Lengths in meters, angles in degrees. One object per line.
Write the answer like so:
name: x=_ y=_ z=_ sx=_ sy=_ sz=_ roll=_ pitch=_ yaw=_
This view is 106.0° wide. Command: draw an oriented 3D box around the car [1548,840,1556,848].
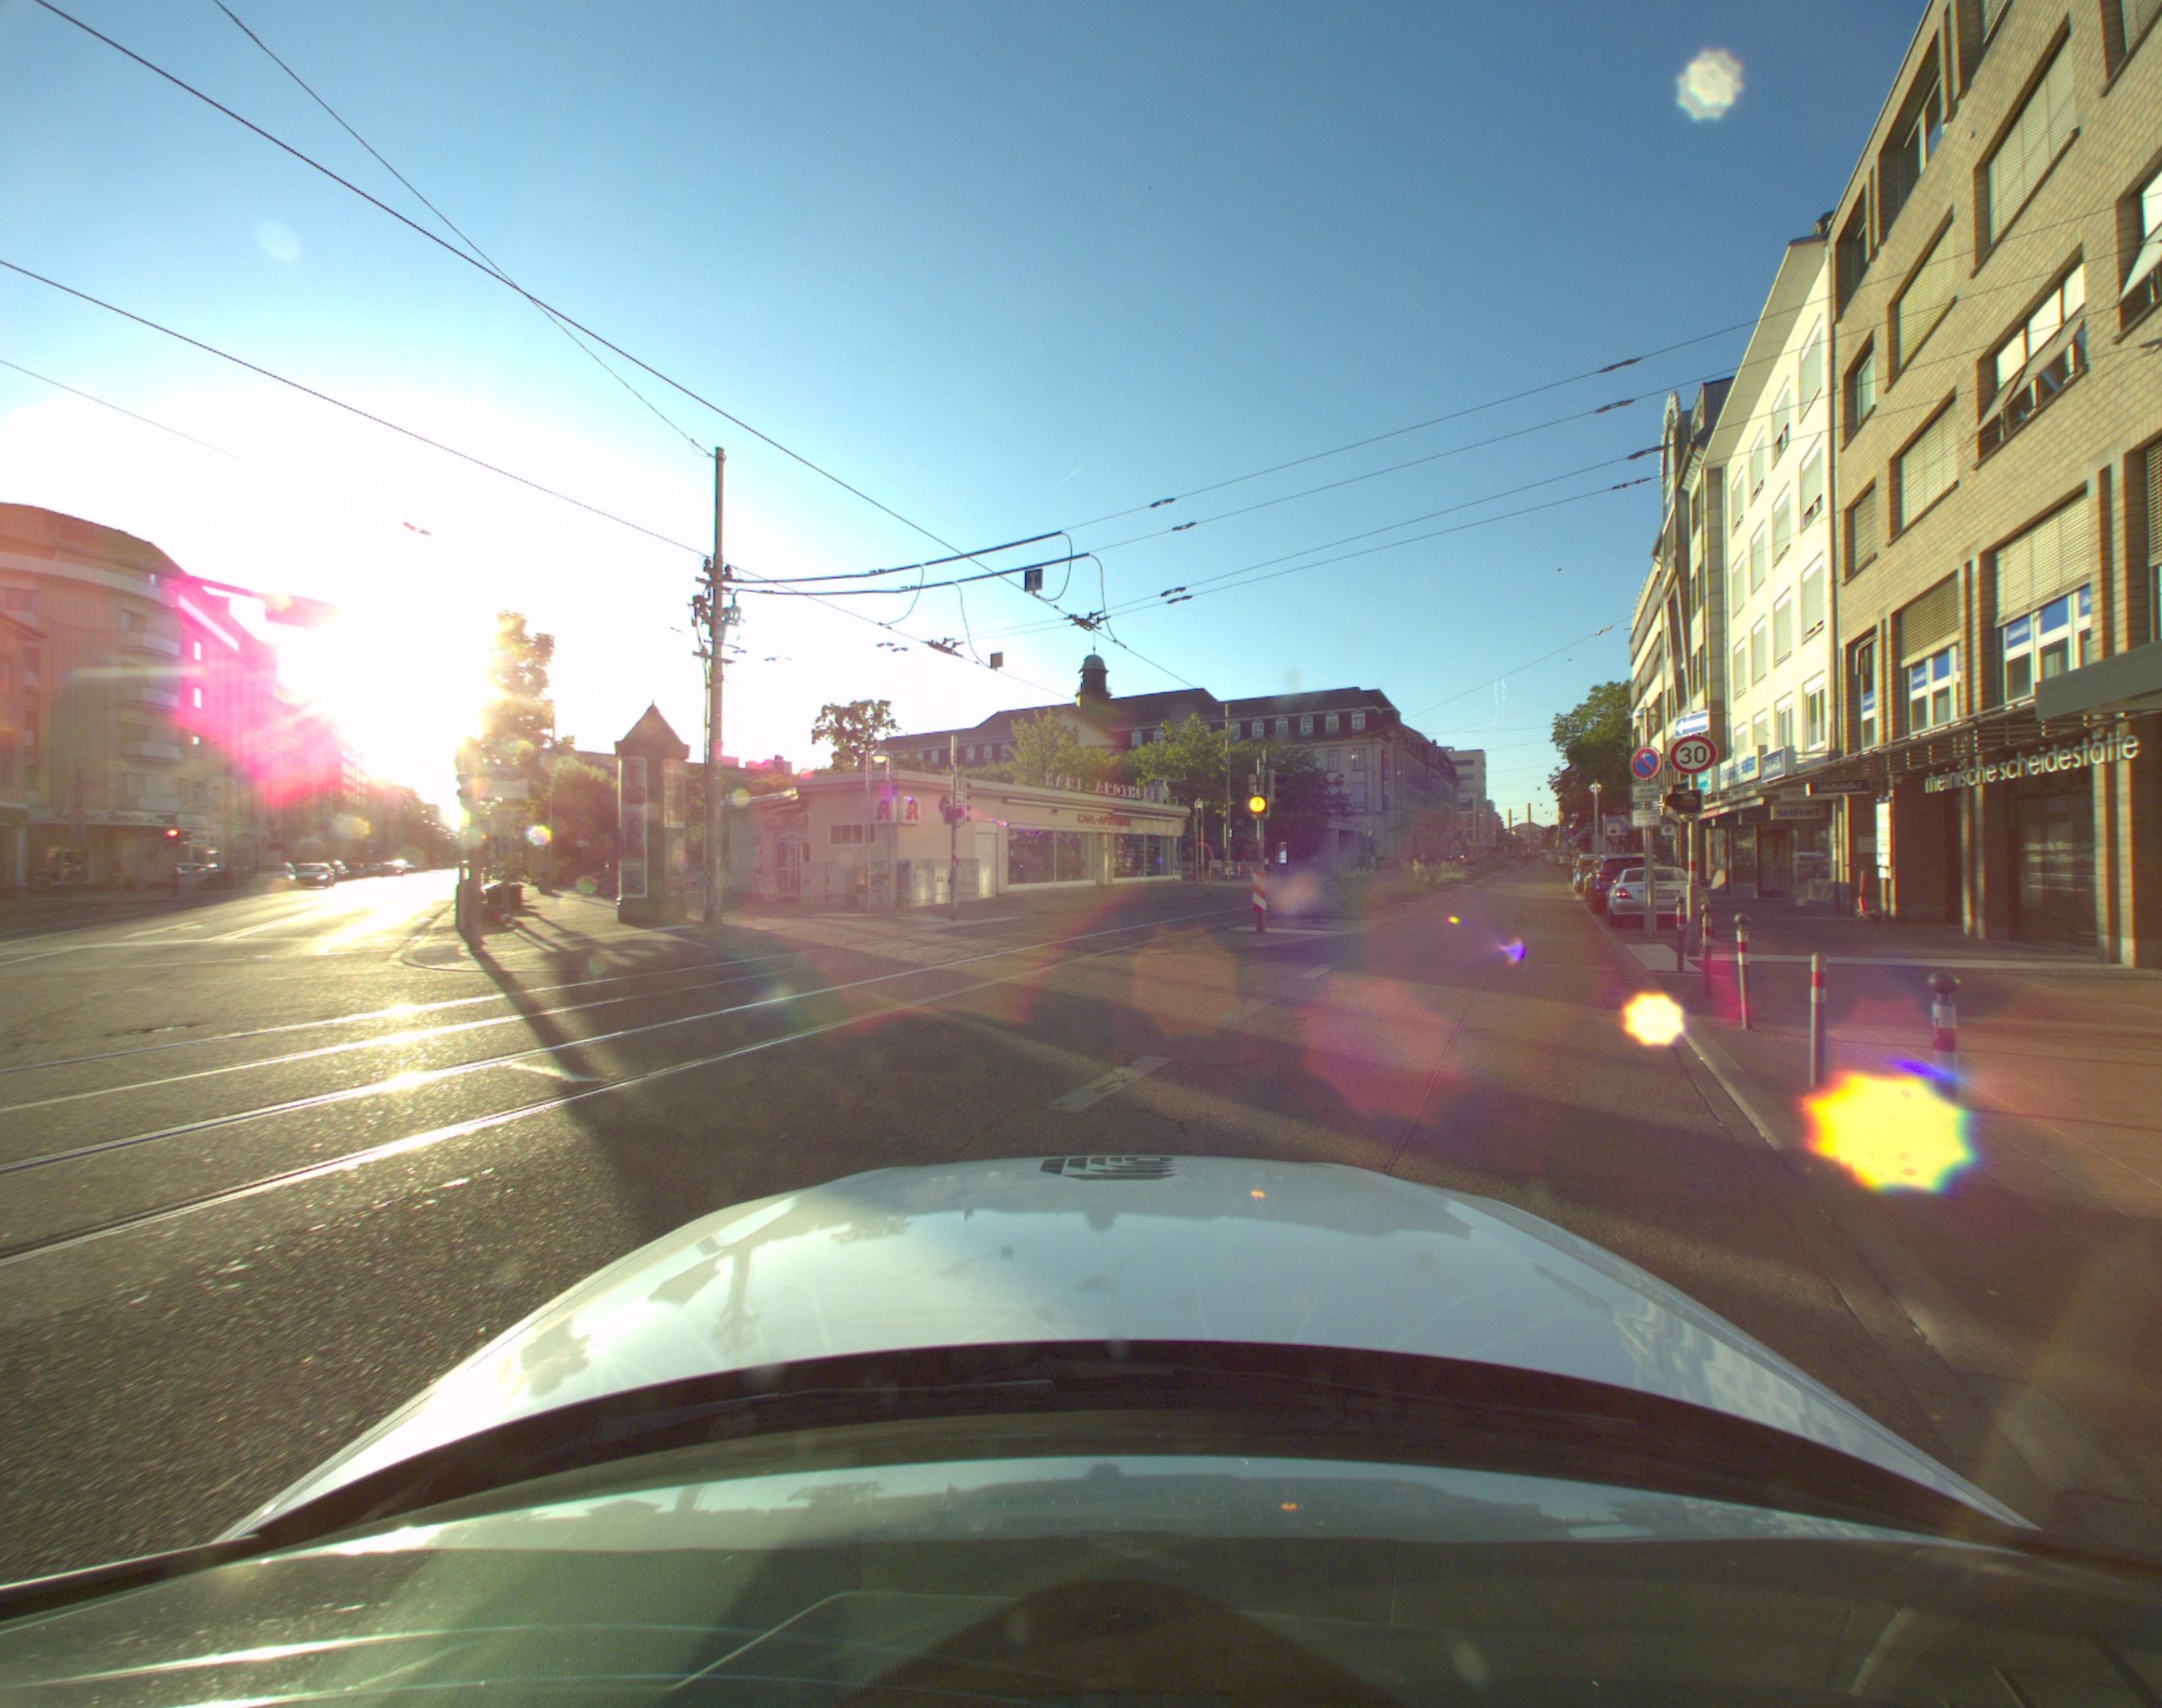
car: x=123.634 y=-2.557 z=213.743 sx=1.744 sy=1.827 sz=3.592 roll=-1 pitch=-2 yaw=30

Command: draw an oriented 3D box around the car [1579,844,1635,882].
car: x=22.958 y=0.368 z=35.675 sx=1.792 sy=1.552 sz=4.866 roll=-1 pitch=0 yaw=30

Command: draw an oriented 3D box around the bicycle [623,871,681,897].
bicycle: x=-17.191 y=1.197 z=32.673 sx=2.050 sy=0.977 sz=0.555 roll=-1 pitch=-1 yaw=-28

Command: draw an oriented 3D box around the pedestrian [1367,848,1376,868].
pedestrian: x=28.420 y=0.381 z=79.668 sx=0.717 sy=1.934 sz=0.797 roll=-1 pitch=-2 yaw=34

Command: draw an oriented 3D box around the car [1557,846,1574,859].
car: x=67.425 y=-0.155 z=113.315 sx=1.974 sy=1.761 sz=4.448 roll=-1 pitch=-1 yaw=30

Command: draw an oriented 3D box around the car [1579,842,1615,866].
car: x=33.149 y=0.027 z=52.432 sx=1.639 sy=1.380 sz=4.367 roll=-5 pitch=-2 yaw=29

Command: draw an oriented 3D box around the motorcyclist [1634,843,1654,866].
motorcyclist: x=45.159 y=0.042 z=65.346 sx=0.996 sy=1.813 sz=0.962 roll=0 pitch=-2 yaw=8

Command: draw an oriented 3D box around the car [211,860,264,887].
car: x=-48.758 y=1.088 z=47.123 sx=1.557 sy=1.483 sz=3.315 roll=-1 pitch=0 yaw=-36

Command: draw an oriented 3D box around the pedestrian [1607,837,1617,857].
pedestrian: x=46.579 y=-0.577 z=71.416 sx=0.672 sy=1.717 sz=0.658 roll=-1 pitch=-2 yaw=33

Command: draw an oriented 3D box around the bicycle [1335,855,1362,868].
bicycle: x=24.417 y=0.699 z=74.328 sx=2.220 sy=1.232 sz=0.588 roll=-1 pitch=-1 yaw=30

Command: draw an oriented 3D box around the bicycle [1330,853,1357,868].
bicycle: x=22.993 y=0.601 z=71.473 sx=2.176 sy=1.300 sz=0.583 roll=-1 pitch=-2 yaw=30

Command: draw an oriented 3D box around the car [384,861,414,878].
car: x=-71.724 y=1.619 z=85.706 sx=2.008 sy=1.684 sz=3.958 roll=-1 pitch=0 yaw=-34

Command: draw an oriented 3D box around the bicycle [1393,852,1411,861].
bicycle: x=41.585 y=0.293 z=105.513 sx=2.078 sy=1.148 sz=0.578 roll=-1 pitch=-2 yaw=26

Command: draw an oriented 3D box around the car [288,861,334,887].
car: x=-45.678 y=1.175 z=48.346 sx=1.557 sy=1.468 sz=3.315 roll=0 pitch=-1 yaw=-36

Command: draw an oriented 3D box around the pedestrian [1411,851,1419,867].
pedestrian: x=37.937 y=0.551 z=92.515 sx=0.726 sy=1.840 sz=0.719 roll=-1 pitch=-2 yaw=31

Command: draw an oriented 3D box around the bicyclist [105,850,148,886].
bicyclist: x=-47.898 y=0.694 z=40.877 sx=1.132 sy=1.791 sz=0.760 roll=1 pitch=-2 yaw=-18

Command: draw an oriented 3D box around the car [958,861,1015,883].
car: x=-7.103 y=1.378 z=61.901 sx=1.781 sy=1.565 sz=4.709 roll=-1 pitch=-2 yaw=31

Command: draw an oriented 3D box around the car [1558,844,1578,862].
car: x=54.778 y=-0.085 z=91.594 sx=1.897 sy=1.981 sz=4.448 roll=-1 pitch=-1 yaw=30

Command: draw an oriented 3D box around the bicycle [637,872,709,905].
bicycle: x=-13.858 y=1.159 z=27.702 sx=2.159 sy=1.043 sz=0.555 roll=-1 pitch=-1 yaw=-28

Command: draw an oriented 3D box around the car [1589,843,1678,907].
car: x=15.316 y=0.518 z=22.760 sx=1.748 sy=1.605 sz=4.314 roll=-1 pitch=0 yaw=30

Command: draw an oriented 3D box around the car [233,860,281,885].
car: x=-50.704 y=1.111 z=50.163 sx=1.557 sy=1.469 sz=3.315 roll=0 pitch=-1 yaw=-36

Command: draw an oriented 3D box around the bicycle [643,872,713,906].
bicycle: x=-13.215 y=1.126 z=26.756 sx=2.031 sy=1.044 sz=0.555 roll=-1 pitch=-1 yaw=-28

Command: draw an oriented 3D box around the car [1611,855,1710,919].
car: x=13.068 y=0.684 z=18.554 sx=1.657 sy=1.282 sz=4.089 roll=-1 pitch=-1 yaw=33

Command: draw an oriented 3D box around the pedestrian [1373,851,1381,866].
pedestrian: x=33.172 y=0.502 z=91.389 sx=0.710 sy=1.645 sz=0.662 roll=1 pitch=0 yaw=9

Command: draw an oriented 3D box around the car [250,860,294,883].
car: x=-53.681 y=1.161 z=54.087 sx=1.557 sy=1.469 sz=3.315 roll=0 pitch=-1 yaw=-36

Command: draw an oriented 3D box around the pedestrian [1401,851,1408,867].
pedestrian: x=36.819 y=0.575 z=92.662 sx=0.686 sy=1.847 sz=0.666 roll=-1 pitch=-2 yaw=31

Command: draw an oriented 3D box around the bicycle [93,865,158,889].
bicycle: x=-47.873 y=1.143 z=40.830 sx=2.124 sy=1.204 sz=0.497 roll=1 pitch=-2 yaw=-19

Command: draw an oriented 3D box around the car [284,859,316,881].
car: x=-57.211 y=1.140 z=59.721 sx=1.317 sy=1.582 sz=2.856 roll=0 pitch=-1 yaw=-36

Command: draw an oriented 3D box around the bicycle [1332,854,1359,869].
bicycle: x=23.666 y=0.673 z=72.860 sx=2.220 sy=1.255 sz=0.583 roll=-1 pitch=-2 yaw=30

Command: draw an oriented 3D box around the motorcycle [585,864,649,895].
motorcycle: x=-19.009 y=1.024 z=33.417 sx=2.249 sy=1.201 sz=0.713 roll=-1 pitch=0 yaw=-31

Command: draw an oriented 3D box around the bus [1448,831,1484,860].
bus: x=53.432 y=-1.167 z=112.775 sx=2.795 sy=3.651 sz=17.179 roll=-1 pitch=0 yaw=31

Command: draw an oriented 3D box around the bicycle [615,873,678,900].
bicycle: x=-16.675 y=1.238 z=31.298 sx=2.090 sy=0.982 sz=0.555 roll=-1 pitch=-1 yaw=-28

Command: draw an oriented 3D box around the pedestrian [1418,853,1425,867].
pedestrian: x=43.842 y=0.757 z=104.822 sx=0.807 sy=1.707 sz=0.766 roll=-1 pitch=-2 yaw=31

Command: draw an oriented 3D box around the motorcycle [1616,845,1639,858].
motorcycle: x=46.001 y=-0.219 z=68.542 sx=0.561 sy=1.145 sz=2.300 roll=0 pitch=0 yaw=5

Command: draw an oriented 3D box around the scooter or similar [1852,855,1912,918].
scooter or similar: x=16.118 y=0.622 z=16.419 sx=0.456 sy=1.183 sz=1.582 roll=-1 pitch=0 yaw=30

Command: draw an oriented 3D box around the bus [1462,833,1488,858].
bus: x=59.953 y=-1.295 z=123.724 sx=2.795 sy=3.624 sz=8.341 roll=-1 pitch=0 yaw=31

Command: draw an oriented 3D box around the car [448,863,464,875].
car: x=-108.586 y=2.632 z=141.514 sx=2.009 sy=2.014 sz=3.955 roll=1 pitch=-2 yaw=-36
